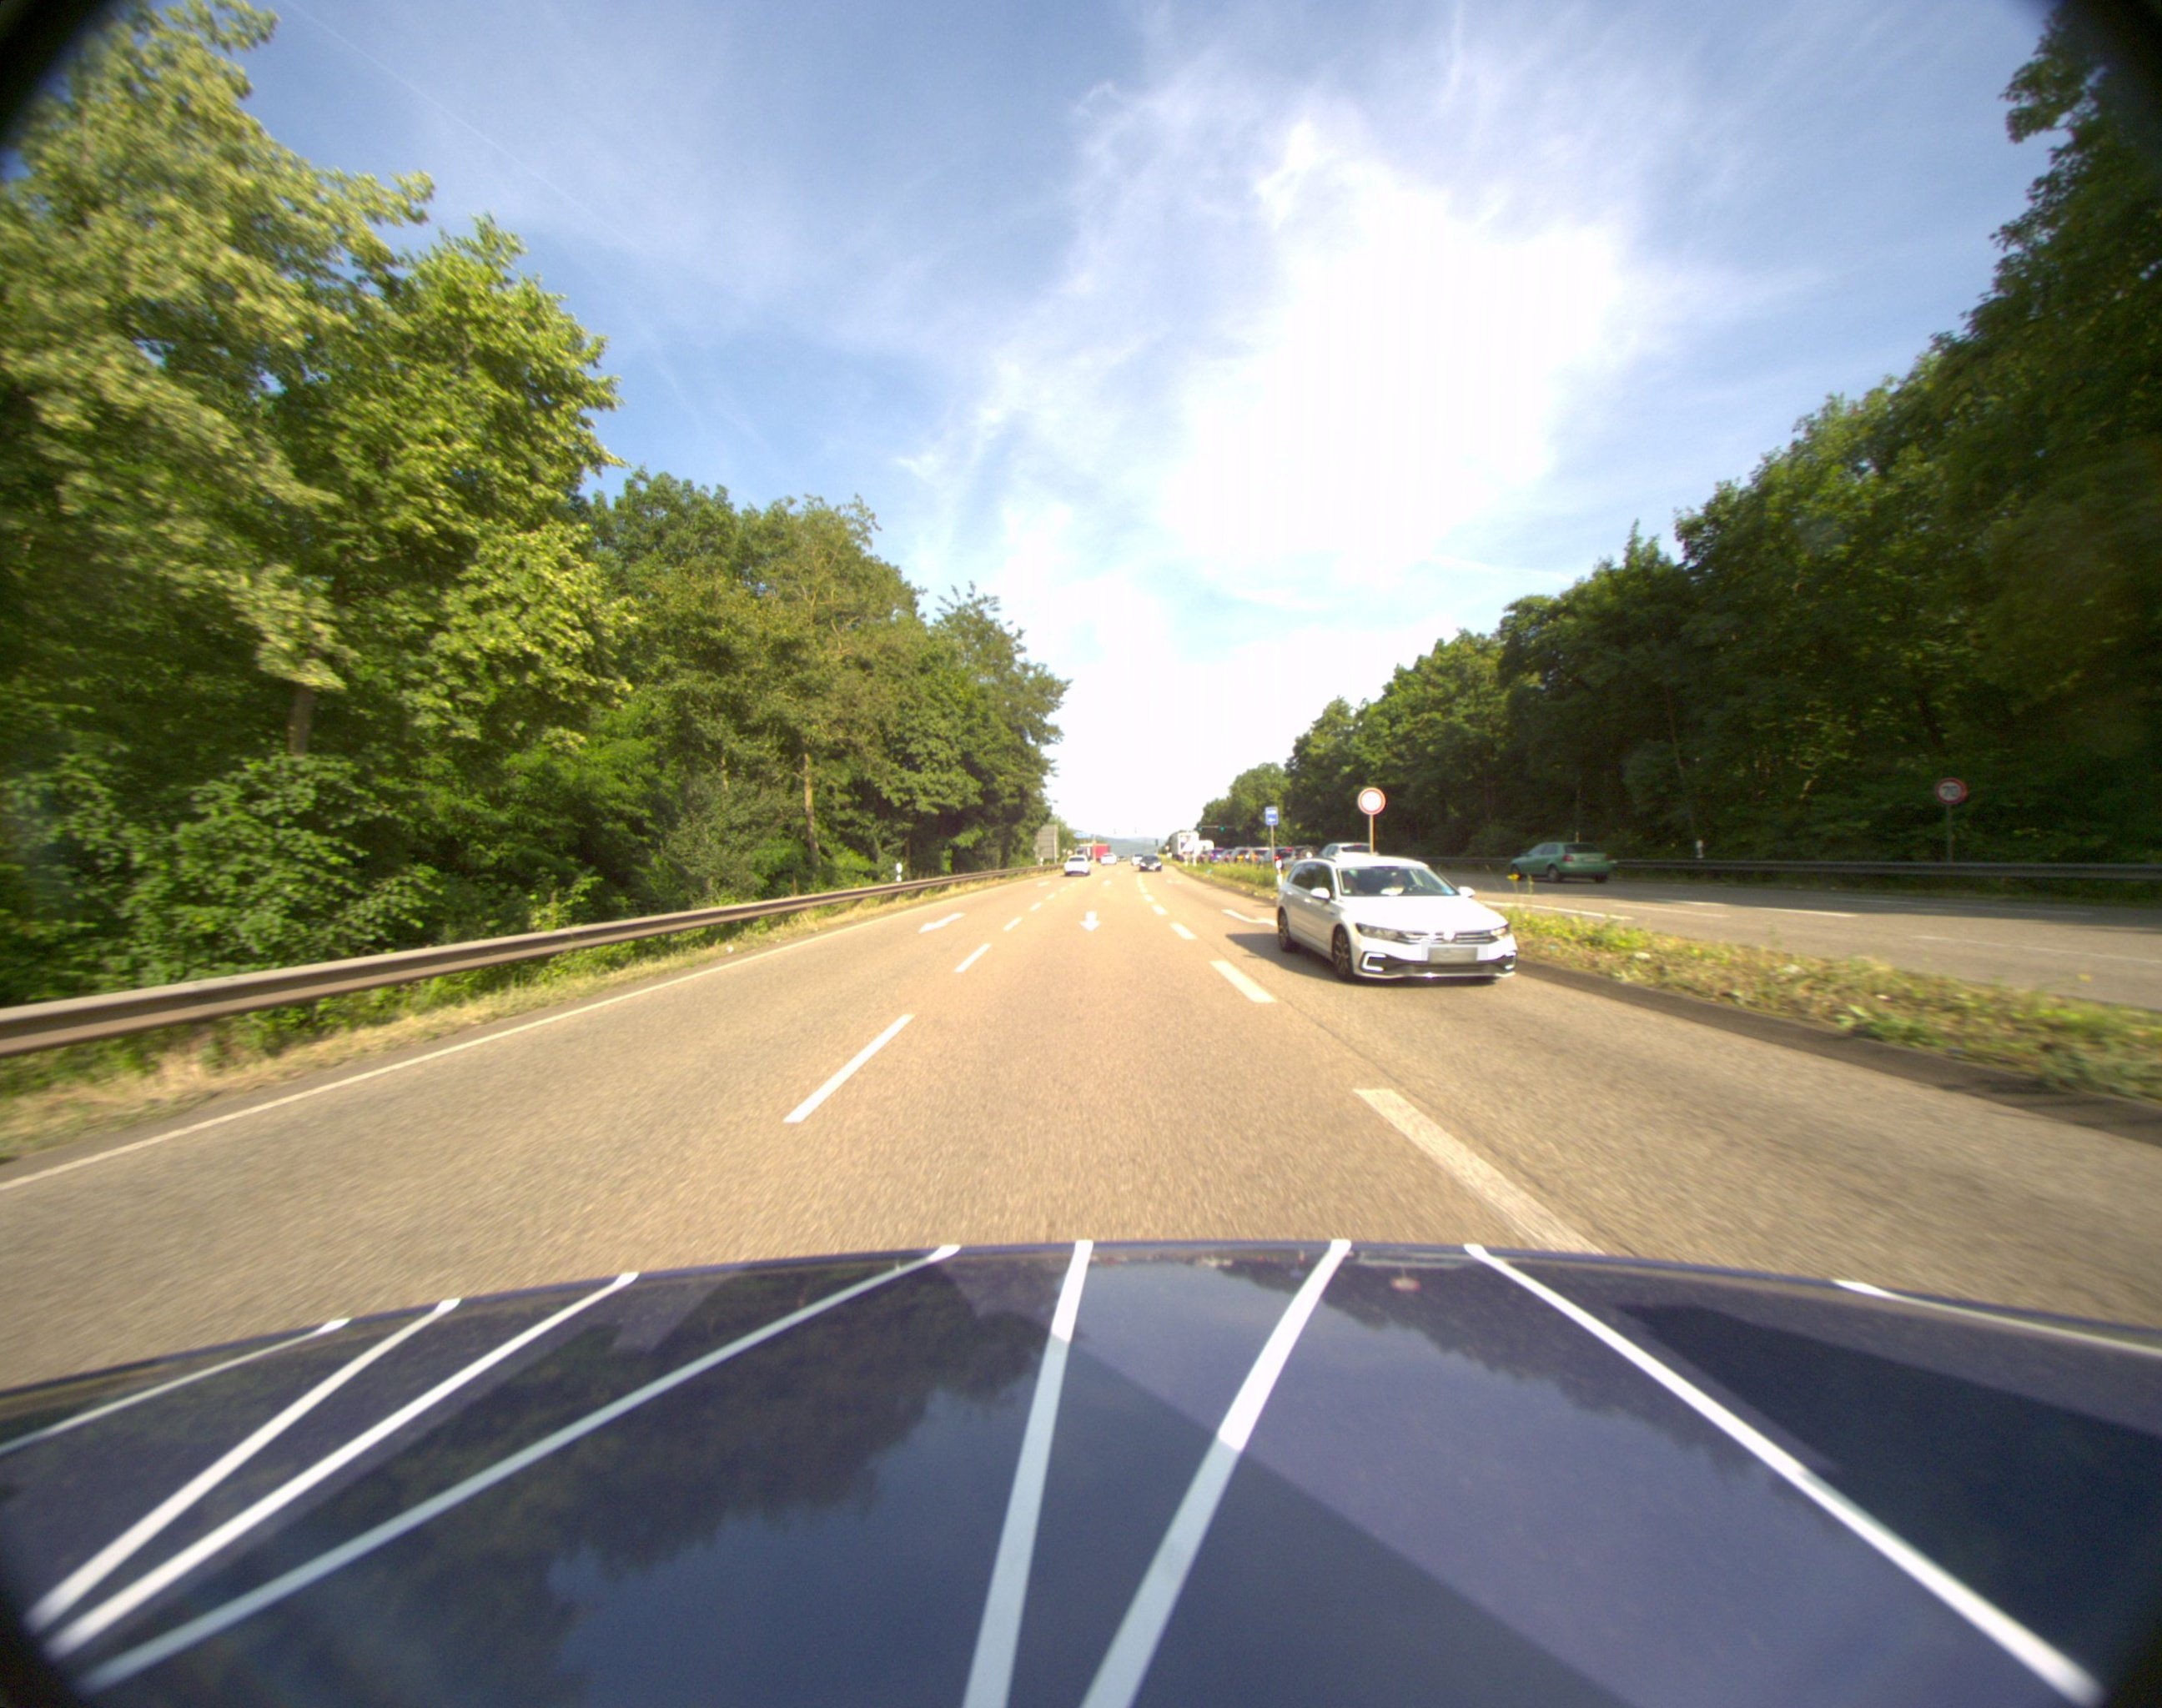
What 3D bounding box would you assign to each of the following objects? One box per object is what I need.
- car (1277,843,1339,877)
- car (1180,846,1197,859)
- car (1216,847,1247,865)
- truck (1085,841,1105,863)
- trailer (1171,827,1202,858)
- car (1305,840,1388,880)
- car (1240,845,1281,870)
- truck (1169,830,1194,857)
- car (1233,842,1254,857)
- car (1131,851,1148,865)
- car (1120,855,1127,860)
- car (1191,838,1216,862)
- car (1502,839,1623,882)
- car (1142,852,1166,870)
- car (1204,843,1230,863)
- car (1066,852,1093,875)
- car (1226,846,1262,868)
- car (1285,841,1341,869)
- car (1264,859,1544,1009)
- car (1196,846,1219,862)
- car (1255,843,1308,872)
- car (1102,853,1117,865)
[{"bbox_3d":[10.253,0.256,34.618,1.771,1.409,4.435,-1,0,4],"label":"car"},{"bbox_3d":[13.953,-0.146,98.835,1.704,1.622,4.371,-1,0,2],"label":"car"},{"bbox_3d":[11.966,0.148,60.769,1.775,1.371,4.845,-1,0,4],"label":"car"},{"bbox_3d":[2.799,-0.344,147.201,3.196,3.995,14.567,-4,0,3],"label":"truck"},{"bbox_3d":[15.081,-1.558,109.473,2.998,3.972,14.016,-4,0,3],"label":"trailer"},{"bbox_3d":[10.012,0.217,29.047,1.872,1.409,4.417,-1,0,4],"label":"car"},{"bbox_3d":[10.931,0.189,46.520,1.710,1.415,4.212,-1,0,4],"label":"car"},{"bbox_3d":[15.377,-1.553,116.734,2.897,3.974,6.723,-4,0,2],"label":"truck"},{"bbox_3d":[21.712,-0.584,101.660,2.016,1.924,5.103,1,0,4],"label":"car"},{"bbox_3d":[7.458,0.468,97.535,1.998,1.632,4.001,-4,0,3],"label":"car"},{"bbox_3d":[11.411,0.887,205.104,1.498,1.346,3.554,-4,0,1],"label":"car"},{"bbox_3d":[13.448,-0.388,83.907,2.079,2.519,6.165,-1,0,4],"label":"car"},{"bbox_3d":[16.840,0.224,26.852,1.742,1.370,4.376,-1,0,4],"label":"car"},{"bbox_3d":[6.452,0.576,67.376,1.861,1.452,4.570,-4,0,3],"label":"car"},{"bbox_3d":[12.274,-0.077,68.782,1.775,1.659,4.802,-1,0,4],"label":"car"},{"bbox_3d":[-0.079,0.712,58.894,1.874,1.625,4.835,-1,0,2],"label":"car"},{"bbox_3d":[11.413,0.190,53.506,1.775,1.415,5.194,-1,0,4],"label":"car"},{"bbox_3d":[15.168,0.065,50.011,2.107,1.698,6.227,-1,0,4],"label":"car"},{"bbox_3d":[3.907,0.840,10.255,1.874,1.512,4.835,0,0,2],"label":"car"},{"bbox_3d":[12.537,0.021,75.582,1.764,1.448,5.187,-1,0,4],"label":"car"},{"bbox_3d":[10.679,0.183,40.769,1.771,1.415,5.194,-1,0,4],"label":"car"},{"bbox_3d":[4.152,0.739,111.522,1.998,1.632,4.000,-4,0,1],"label":"car"}]
